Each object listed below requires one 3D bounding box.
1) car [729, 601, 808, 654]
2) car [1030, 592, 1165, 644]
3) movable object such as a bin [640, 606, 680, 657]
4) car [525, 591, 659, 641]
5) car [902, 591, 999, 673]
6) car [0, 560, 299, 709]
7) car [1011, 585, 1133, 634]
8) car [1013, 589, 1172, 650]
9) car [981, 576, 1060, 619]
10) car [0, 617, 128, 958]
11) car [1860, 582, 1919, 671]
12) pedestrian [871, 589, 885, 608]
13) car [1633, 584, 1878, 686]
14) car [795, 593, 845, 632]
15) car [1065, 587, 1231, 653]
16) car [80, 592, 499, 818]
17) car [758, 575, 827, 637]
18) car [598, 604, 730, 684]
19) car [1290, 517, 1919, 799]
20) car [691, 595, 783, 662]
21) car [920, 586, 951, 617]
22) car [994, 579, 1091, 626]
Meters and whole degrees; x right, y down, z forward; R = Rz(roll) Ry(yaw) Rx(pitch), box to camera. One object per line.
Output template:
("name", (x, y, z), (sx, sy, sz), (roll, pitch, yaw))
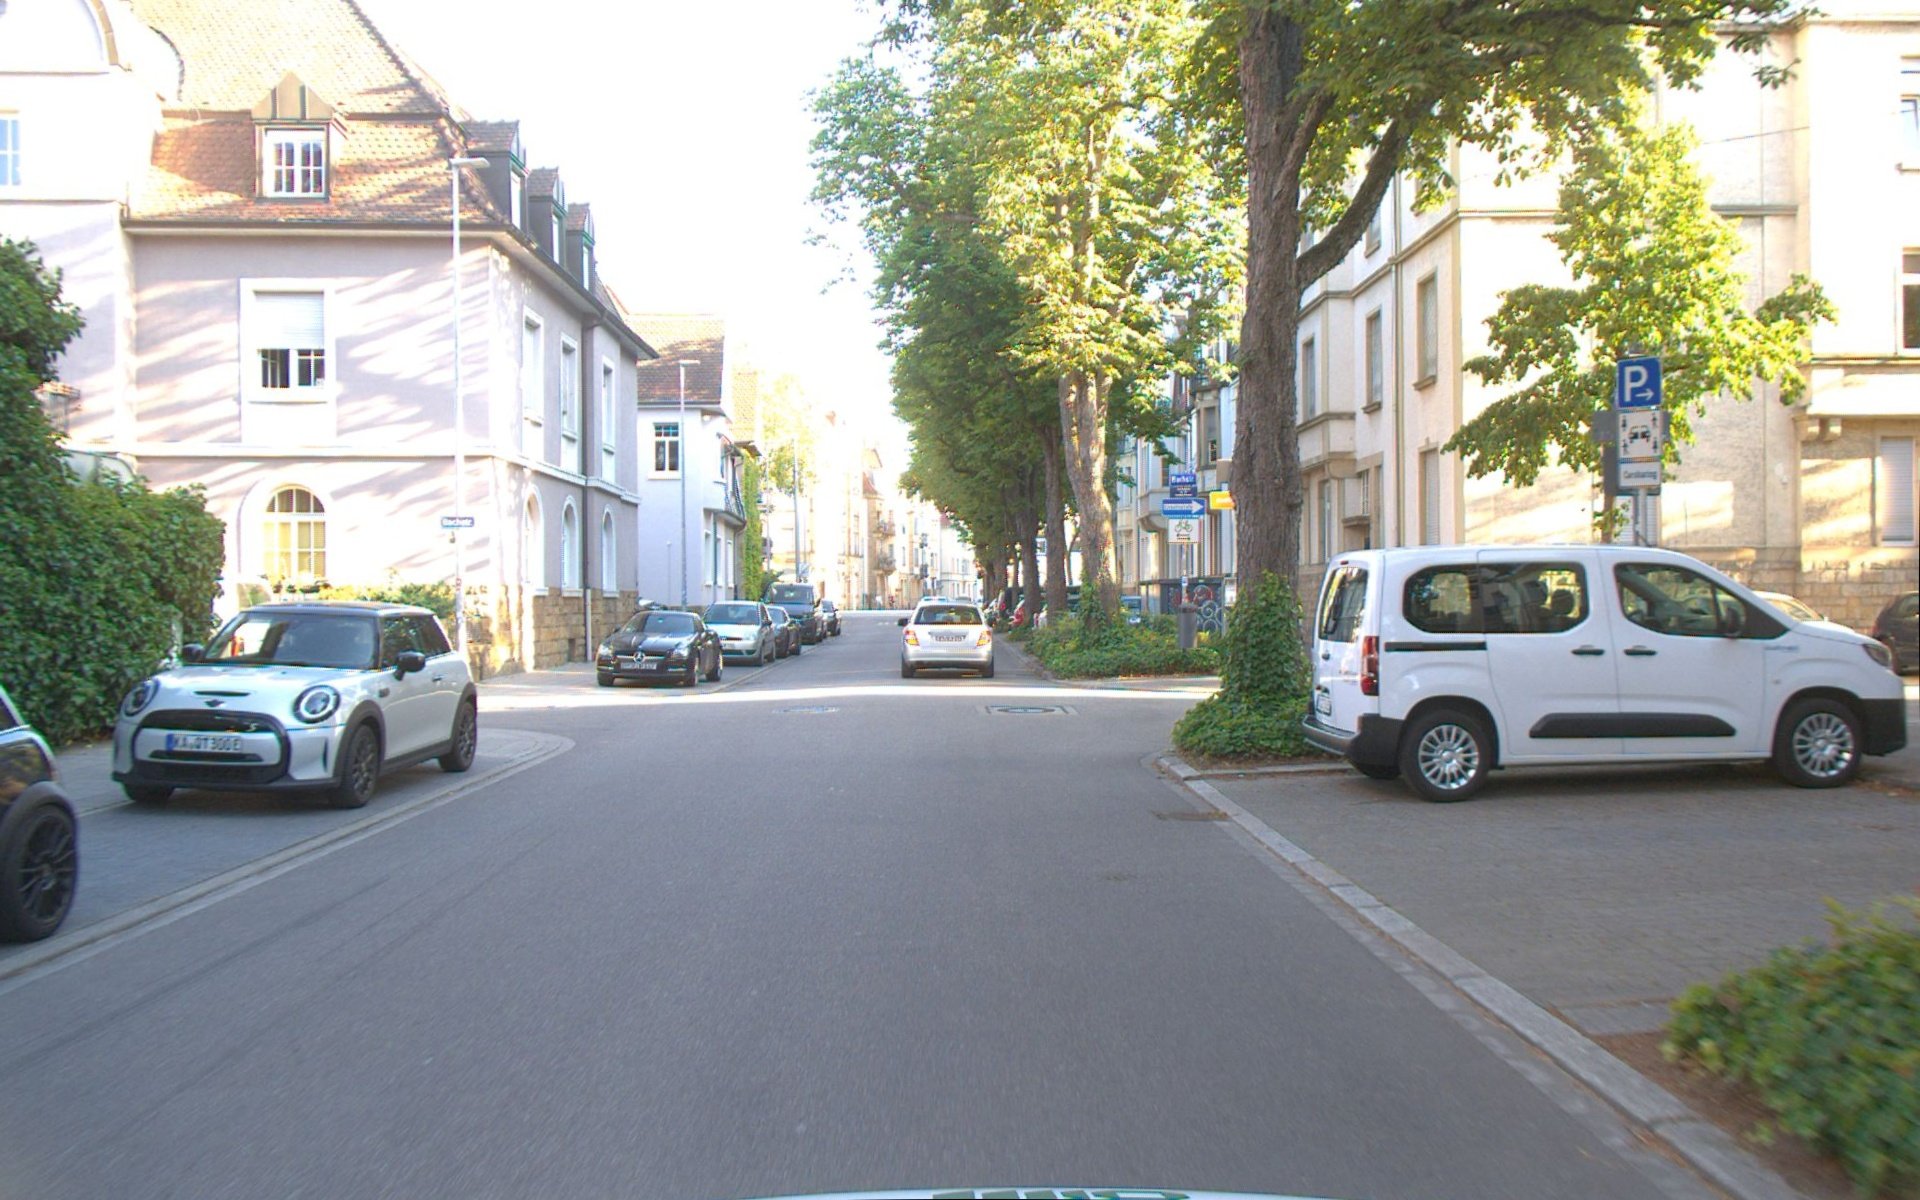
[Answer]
("car", (-5.107, 0.720, 44.464), (1.499, 1.342, 4.227), (0, 0, 2))
("car", (3.919, 0.505, 47.578), (3.716, 1.463, 1.817), (0, 0, -1))
("movable object such as a bin", (-8.065, 0.823, 44.495), (0.707, 1.306, 2.096), (0, 0, -1))
("car", (-11.225, 0.475, 50.623), (3.787, 1.468, 1.633), (0, 1, -5))
("car", (-0.178, 0.595, 31.800), (1.747, 1.462, 3.850), (1, 0, 0))
("car", (-12.224, 0.518, 24.168), (4.313, 2.049, 1.998), (-1, -2, -4))
("car", (3.833, 0.329, 57.200), (4.103, 1.501, 1.852), (-2, 0, 1))
("car", (3.584, 0.529, 45.109), (4.067, 1.604, 1.710), (0, 0, -6))
("car", (3.415, -0.146, 93.892), (4.301, 2.405, 1.999), (0, 0, -3))
("car", (-4.825, 0.791, 6.091), (1.652, 1.404, 3.720), (1, 0, -1))
("car", (16.555, 0.439, 26.460), (1.806, 1.433, 4.529), (-1, 1, -1))
("pedestrian", (-7.740, -0.139, 156.782), (1.195, 1.752, 1.504), (1, 0, 2))
("car", (12.574, 0.494, 26.481), (1.747, 1.433, 4.468), (-1, 1, -1))
("car", (-5.641, 0.479, 66.999), (1.660, 1.472, 4.357), (1, 0, -1))
("car", (4.537, 0.465, 40.271), (3.719, 1.463, 1.747), (-2, 0, -5))
("car", (-5.051, 0.695, 13.070), (1.669, 1.486, 3.918), (1, 0, 0))
("car", (-5.607, 0.178, 55.864), (1.942, 1.981, 4.850), (1, 0, -2))
("car", (-5.388, 0.766, 30.557), (1.619, 1.347, 4.046), (1, 0, 1))
("car", (4.874, 0.396, 12.688), (4.227, 1.838, 2.000), (-2, 0, -1))
("car", (-5.215, 0.633, 39.081), (1.619, 1.471, 3.960), (1, 0, 0))
("car", (-1.278, 0.083, 88.164), (1.590, 1.597, 3.680), (0, 0, 0))
("car", (3.660, 0.105, 73.793), (4.135, 1.929, 1.904), (-2, 0, -3))
